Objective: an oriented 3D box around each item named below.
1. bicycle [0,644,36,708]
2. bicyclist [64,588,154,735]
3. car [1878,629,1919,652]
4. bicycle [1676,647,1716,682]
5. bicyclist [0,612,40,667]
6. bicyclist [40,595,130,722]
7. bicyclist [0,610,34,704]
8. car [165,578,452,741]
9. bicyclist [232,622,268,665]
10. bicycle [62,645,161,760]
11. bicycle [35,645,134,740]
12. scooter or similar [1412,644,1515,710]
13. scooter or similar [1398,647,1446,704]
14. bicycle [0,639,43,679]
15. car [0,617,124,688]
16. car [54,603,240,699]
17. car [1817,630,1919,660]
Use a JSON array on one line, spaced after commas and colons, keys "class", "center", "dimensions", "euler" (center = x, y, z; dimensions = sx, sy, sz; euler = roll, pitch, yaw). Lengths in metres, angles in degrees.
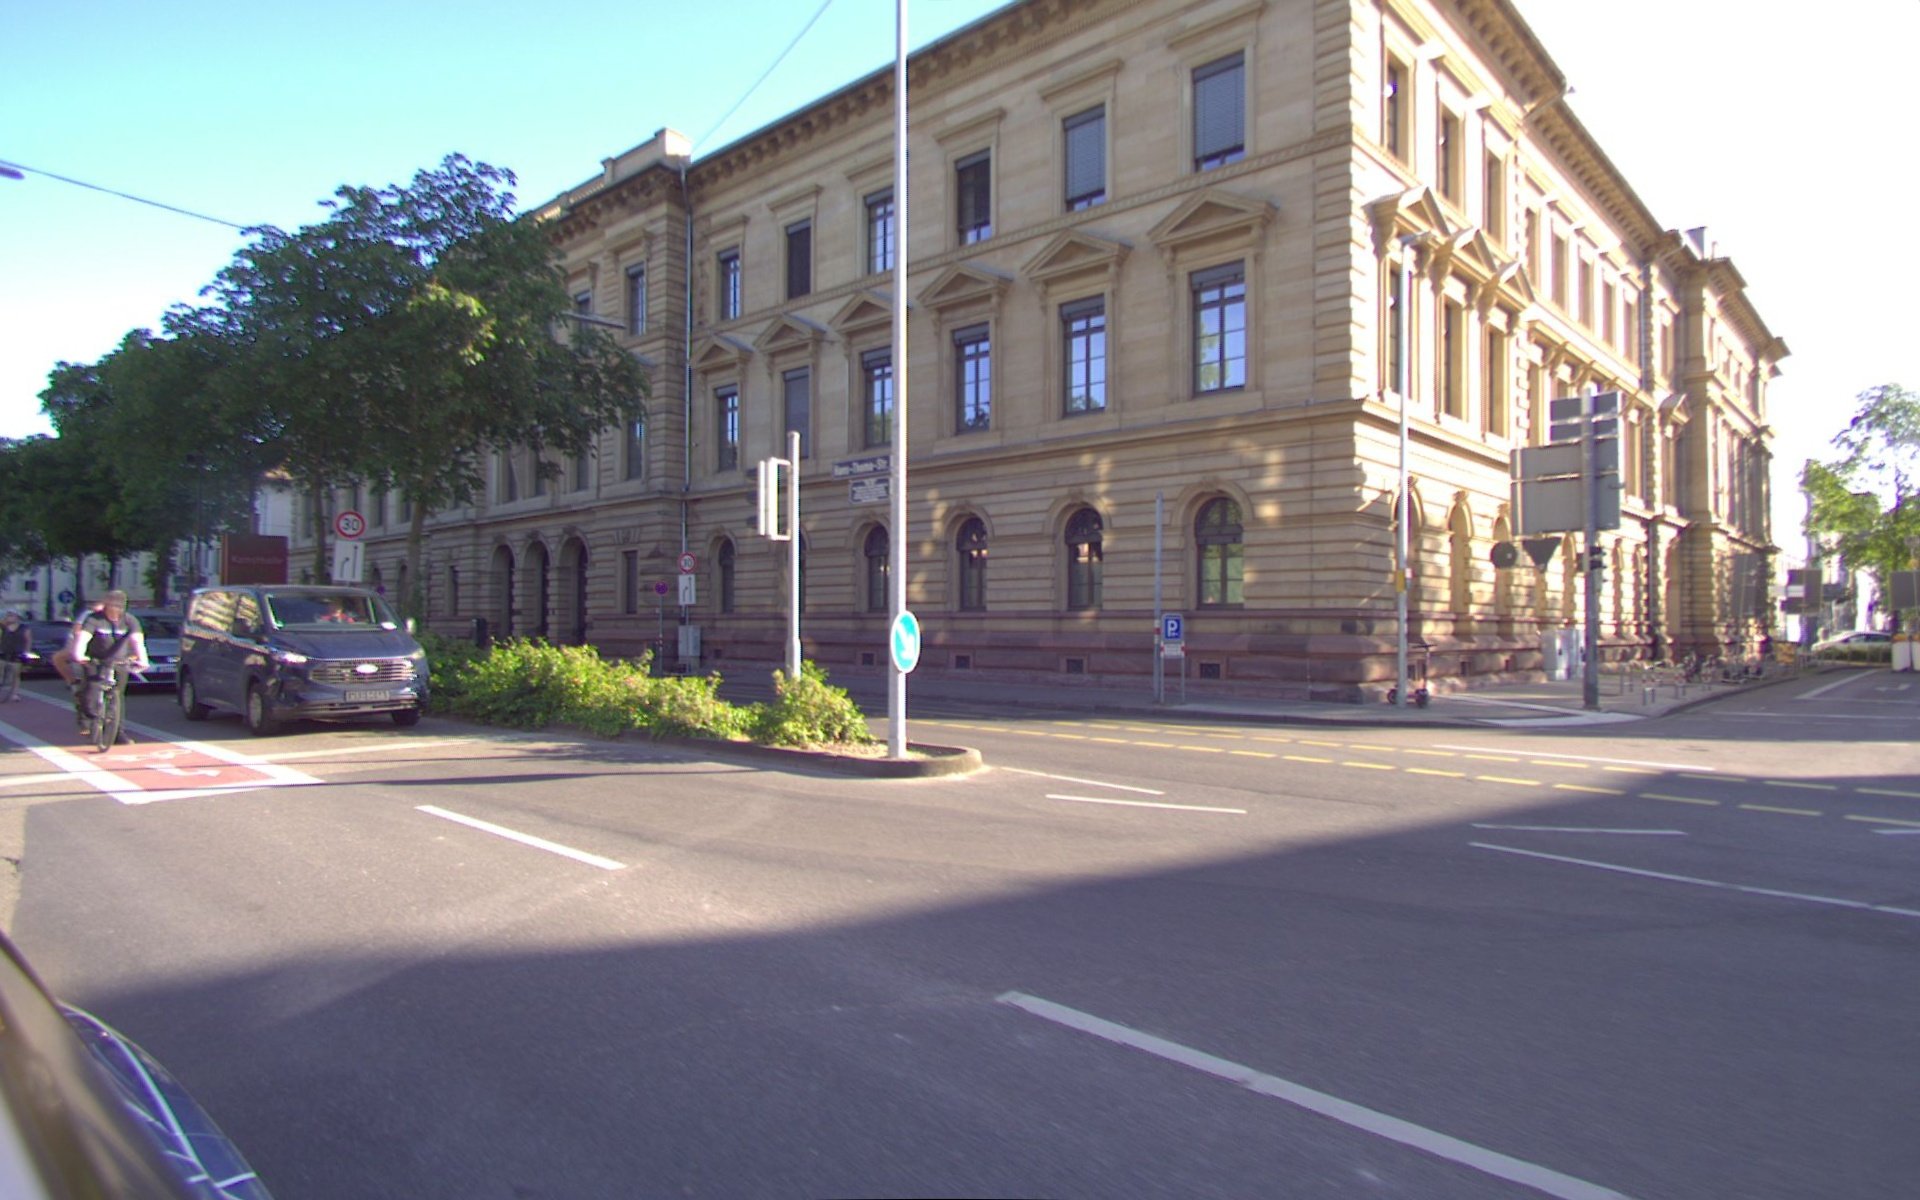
[{"class": "bicycle", "center": [-17.325, 1.357, 18.365], "dimensions": [1.752, 1.081, 0.662], "euler": [-2, -2, 42]}, {"class": "bicyclist", "center": [-9.808, 0.696, 11.668], "dimensions": [0.825, 1.620, 0.662], "euler": [-2, -3, 44]}, {"class": "car", "center": [71.707, 3.085, 76.032], "dimensions": [3.999, 1.627, 1.712], "euler": [-1, -5, 42]}, {"class": "bicycle", "center": [21.056, 1.827, 28.927], "dimensions": [1.802, 0.974, 0.575], "euler": [2, -3, -43]}, {"class": "bicyclist", "center": [-27.322, 1.140, 29.319], "dimensions": [1.230, 1.535, 0.858], "euler": [-2, -1, 41]}, {"class": "bicyclist", "center": [-11.705, 0.767, 13.537], "dimensions": [0.825, 1.620, 0.794], "euler": [-2, -3, 43]}, {"class": "bicyclist", "center": [-17.285, 1.026, 18.331], "dimensions": [0.887, 1.665, 0.665], "euler": [-2, -2, 42]}, {"class": "car", "center": [-9.407, 0.767, 14.430], "dimensions": [5.030, 1.930, 2.047], "euler": [-1, -2, 41]}, {"class": "bicyclist", "center": [-31.296, 1.917, 44.599], "dimensions": [1.285, 1.848, 0.871], "euler": [-1, -5, 41]}, {"class": "bicycle", "center": [-9.735, 1.120, 11.583], "dimensions": [2.077, 1.164, 0.635], "euler": [-2, -2, 44]}, {"class": "bicycle", "center": [-11.838, 1.199, 13.669], "dimensions": [1.970, 1.152, 0.819], "euler": [-2, -2, 44]}, {"class": "scooter or similar", "center": [9.426, 1.424, 18.932], "dimensions": [1.998, 1.197, 0.457], "euler": [1, -2, -20]}, {"class": "scooter or similar", "center": [9.006, 1.452, 19.707], "dimensions": [1.312, 1.060, 0.393], "euler": [2, -3, -45]}, {"class": "bicycle", "center": [-27.230, 1.679, 29.206], "dimensions": [2.452, 1.050, 0.861], "euler": [-1, -1, 41]}, {"class": "car", "center": [-23.459, 1.317, 26.099], "dimensions": [4.731, 1.670, 1.974], "euler": [-1, -3, 39]}, {"class": "car", "center": [-16.820, 1.010, 20.856], "dimensions": [4.741, 1.763, 1.972], "euler": [-2, -3, 39]}, {"class": "car", "center": [50.573, 2.497, 56.341], "dimensions": [4.259, 1.550, 1.803], "euler": [-1, -5, 44]}]
